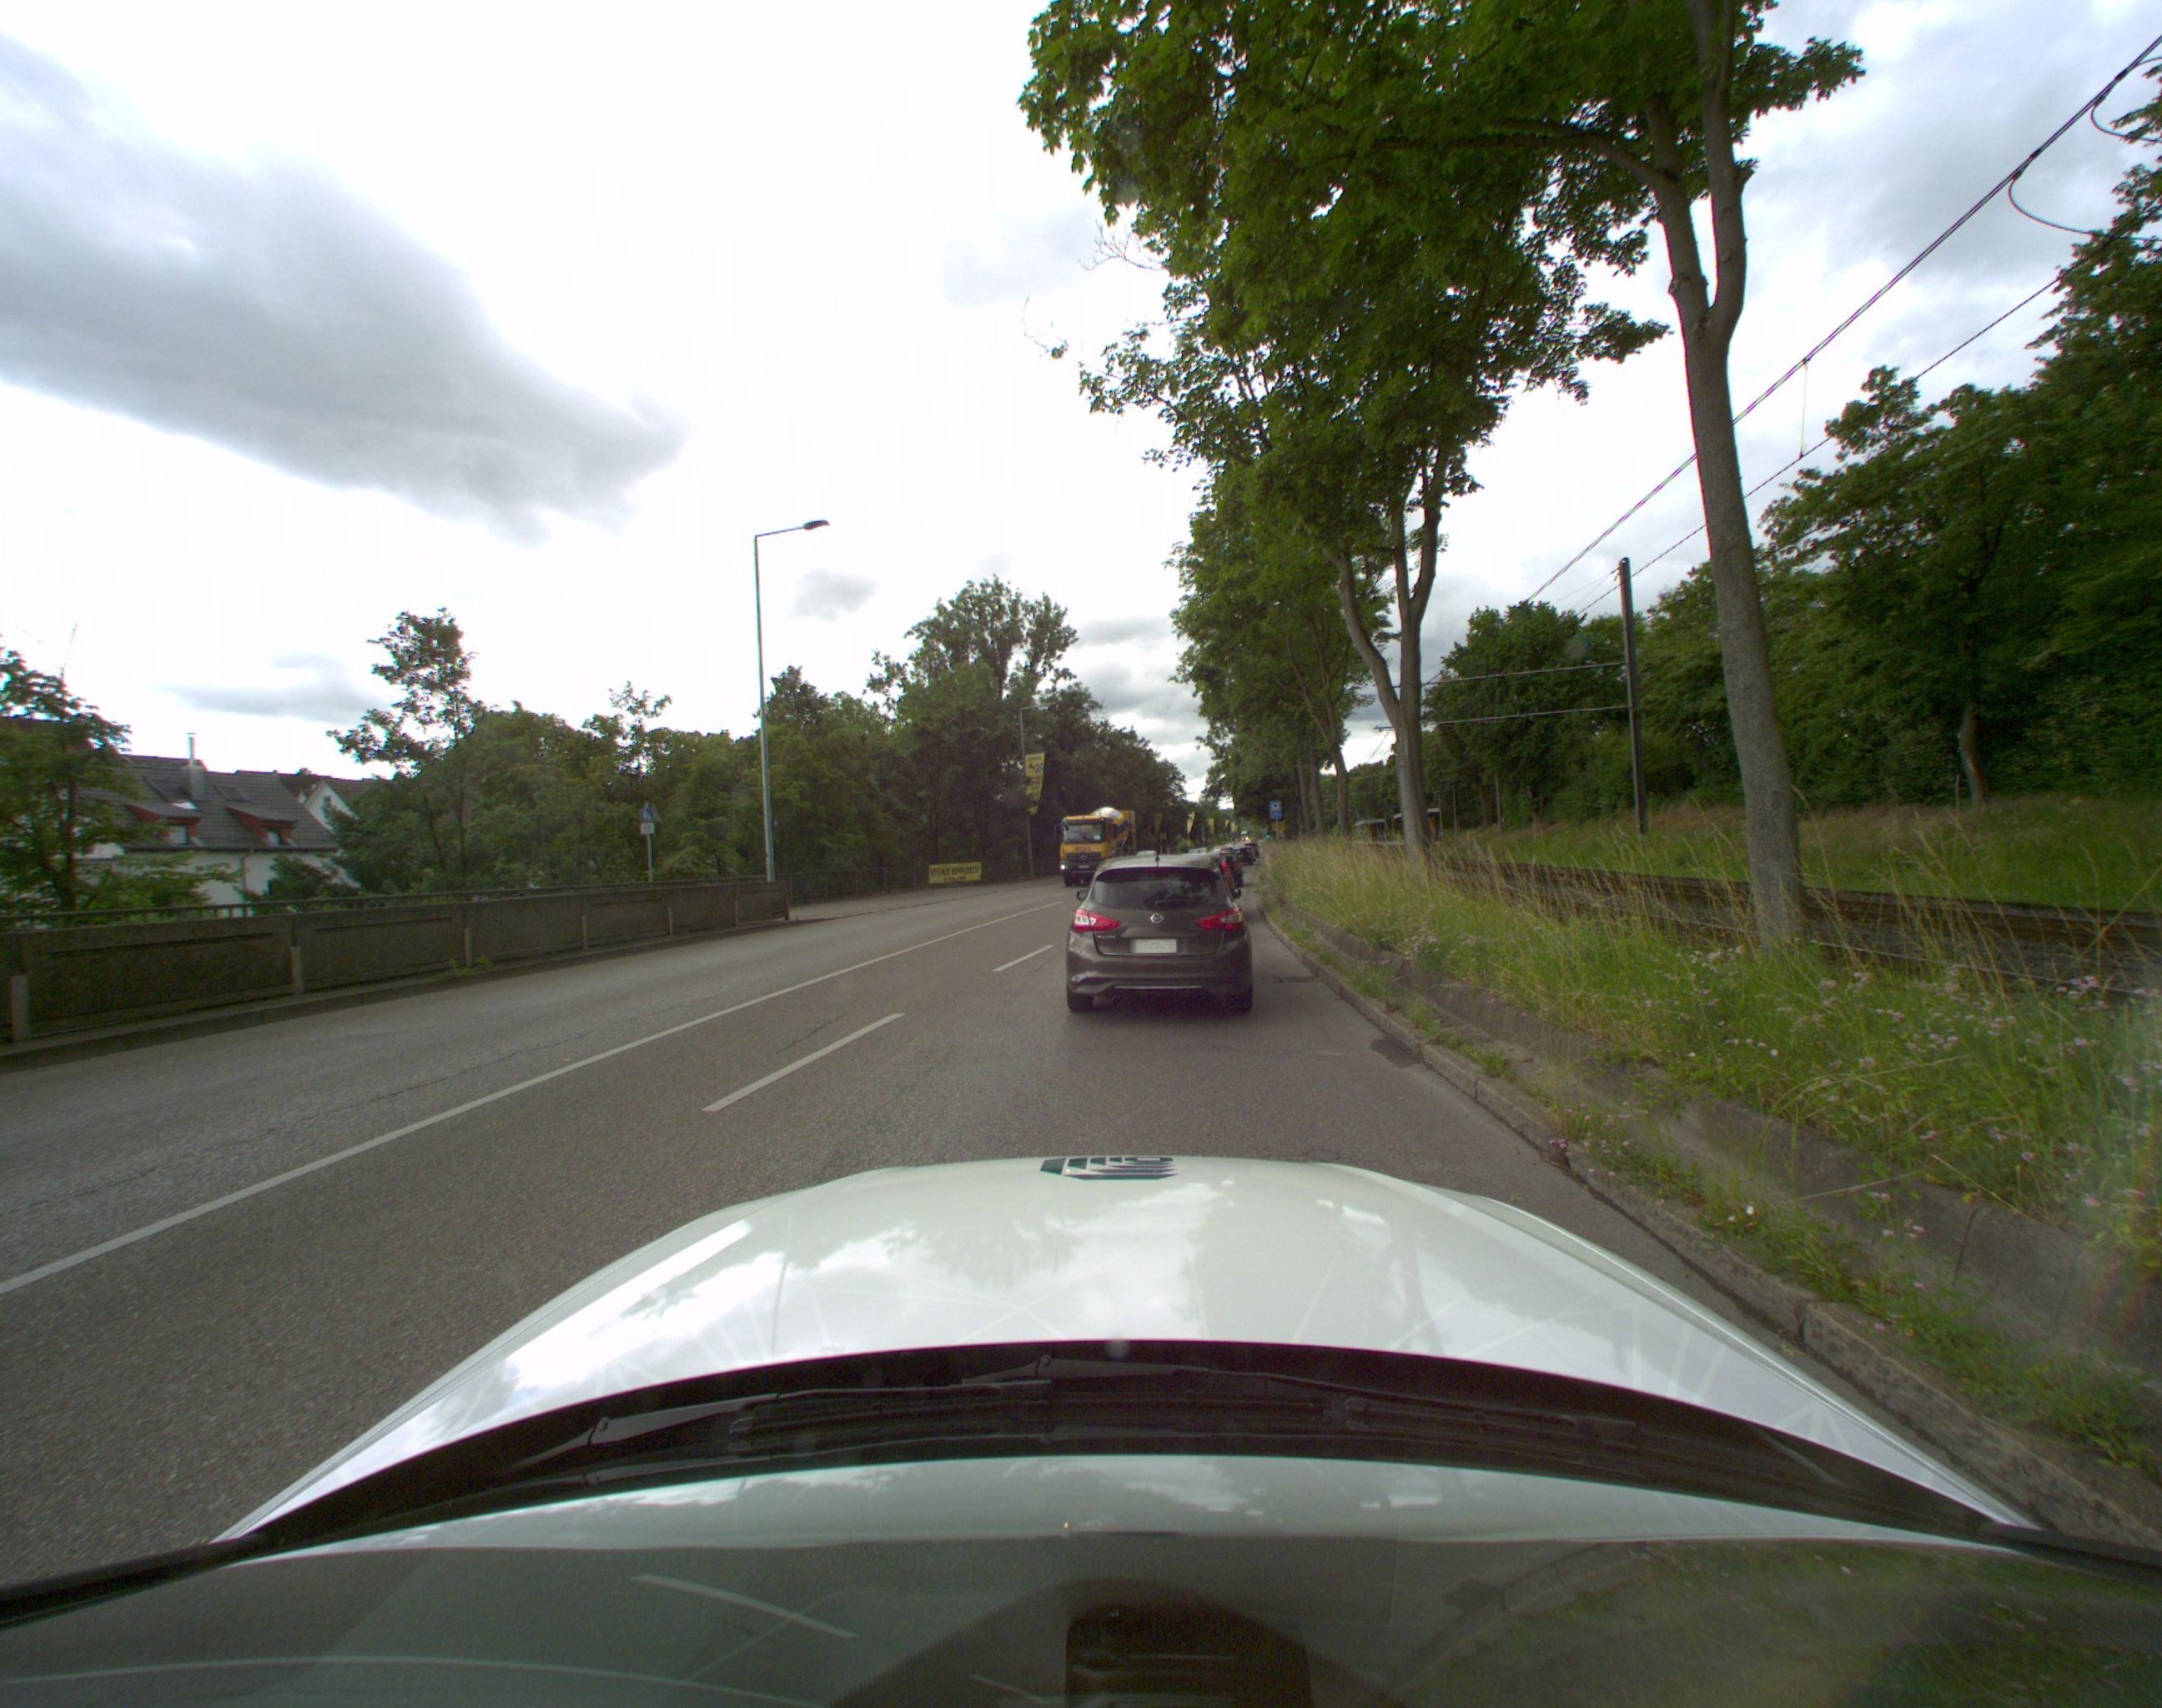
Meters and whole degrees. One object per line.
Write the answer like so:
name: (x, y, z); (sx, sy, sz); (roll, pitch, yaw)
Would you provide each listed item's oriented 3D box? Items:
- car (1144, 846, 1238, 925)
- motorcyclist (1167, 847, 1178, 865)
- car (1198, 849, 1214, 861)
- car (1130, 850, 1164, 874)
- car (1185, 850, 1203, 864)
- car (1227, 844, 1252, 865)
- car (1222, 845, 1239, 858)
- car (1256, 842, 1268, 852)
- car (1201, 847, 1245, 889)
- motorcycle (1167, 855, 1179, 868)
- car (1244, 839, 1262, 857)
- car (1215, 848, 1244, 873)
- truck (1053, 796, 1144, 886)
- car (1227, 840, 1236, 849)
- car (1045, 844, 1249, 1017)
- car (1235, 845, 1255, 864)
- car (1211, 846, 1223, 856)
car: (2.473, 0.681, 18.833); (1.883, 1.574, 4.006); (-2, -1, 6)
motorcyclist: (7.821, 0.147, 69.503); (0.739, 1.539, 0.794); (-2, 0, 14)
car: (16.727, 0.174, 108.577); (1.805, 1.462, 4.014); (-3, 0, 12)
car: (4.612, 0.533, 56.353); (1.755, 1.479, 4.013); (-2, 0, 12)
car: (13.247, 0.350, 95.724); (1.709, 1.442, 4.013); (-3, -2, 12)
car: (12.615, 0.064, 64.776); (1.792, 1.540, 4.013); (-1, -1, 12)
car: (19.313, -0.269, 104.797); (1.838, 1.486, 4.437); (-3, -1, 14)
car: (28.951, -1.065, 130.227); (1.877, 1.445, 3.821); (-2, 0, 13)
car: (5.743, 0.538, 33.191); (1.569, 1.538, 4.010); (-3, -1, 9)
motorcycle: (7.828, 0.626, 69.439); (0.739, 1.033, 1.895); (-2, 0, 14)
car: (20.216, -0.699, 95.387); (1.877, 2.013, 4.015); (-2, 0, 13)
car: (8.834, 0.370, 48.408); (1.490, 1.364, 3.599); (-3, -1, 12)
truck: (1.152, -0.607, 41.222); (2.637, 3.938, 10.145); (-2, 0, 12)
car: (31.315, -1.985, 169.613); (1.707, 1.693, 3.737); (-3, -2, 12)
car: (0.816, 0.710, 9.138); (1.765, 1.494, 4.008); (-1, -1, 7)
car: (15.869, 0.061, 78.624); (1.707, 1.693, 4.013); (-3, -2, 12)
car: (22.558, -0.516, 135.348); (1.740, 1.420, 4.012); (-3, -2, 12)
